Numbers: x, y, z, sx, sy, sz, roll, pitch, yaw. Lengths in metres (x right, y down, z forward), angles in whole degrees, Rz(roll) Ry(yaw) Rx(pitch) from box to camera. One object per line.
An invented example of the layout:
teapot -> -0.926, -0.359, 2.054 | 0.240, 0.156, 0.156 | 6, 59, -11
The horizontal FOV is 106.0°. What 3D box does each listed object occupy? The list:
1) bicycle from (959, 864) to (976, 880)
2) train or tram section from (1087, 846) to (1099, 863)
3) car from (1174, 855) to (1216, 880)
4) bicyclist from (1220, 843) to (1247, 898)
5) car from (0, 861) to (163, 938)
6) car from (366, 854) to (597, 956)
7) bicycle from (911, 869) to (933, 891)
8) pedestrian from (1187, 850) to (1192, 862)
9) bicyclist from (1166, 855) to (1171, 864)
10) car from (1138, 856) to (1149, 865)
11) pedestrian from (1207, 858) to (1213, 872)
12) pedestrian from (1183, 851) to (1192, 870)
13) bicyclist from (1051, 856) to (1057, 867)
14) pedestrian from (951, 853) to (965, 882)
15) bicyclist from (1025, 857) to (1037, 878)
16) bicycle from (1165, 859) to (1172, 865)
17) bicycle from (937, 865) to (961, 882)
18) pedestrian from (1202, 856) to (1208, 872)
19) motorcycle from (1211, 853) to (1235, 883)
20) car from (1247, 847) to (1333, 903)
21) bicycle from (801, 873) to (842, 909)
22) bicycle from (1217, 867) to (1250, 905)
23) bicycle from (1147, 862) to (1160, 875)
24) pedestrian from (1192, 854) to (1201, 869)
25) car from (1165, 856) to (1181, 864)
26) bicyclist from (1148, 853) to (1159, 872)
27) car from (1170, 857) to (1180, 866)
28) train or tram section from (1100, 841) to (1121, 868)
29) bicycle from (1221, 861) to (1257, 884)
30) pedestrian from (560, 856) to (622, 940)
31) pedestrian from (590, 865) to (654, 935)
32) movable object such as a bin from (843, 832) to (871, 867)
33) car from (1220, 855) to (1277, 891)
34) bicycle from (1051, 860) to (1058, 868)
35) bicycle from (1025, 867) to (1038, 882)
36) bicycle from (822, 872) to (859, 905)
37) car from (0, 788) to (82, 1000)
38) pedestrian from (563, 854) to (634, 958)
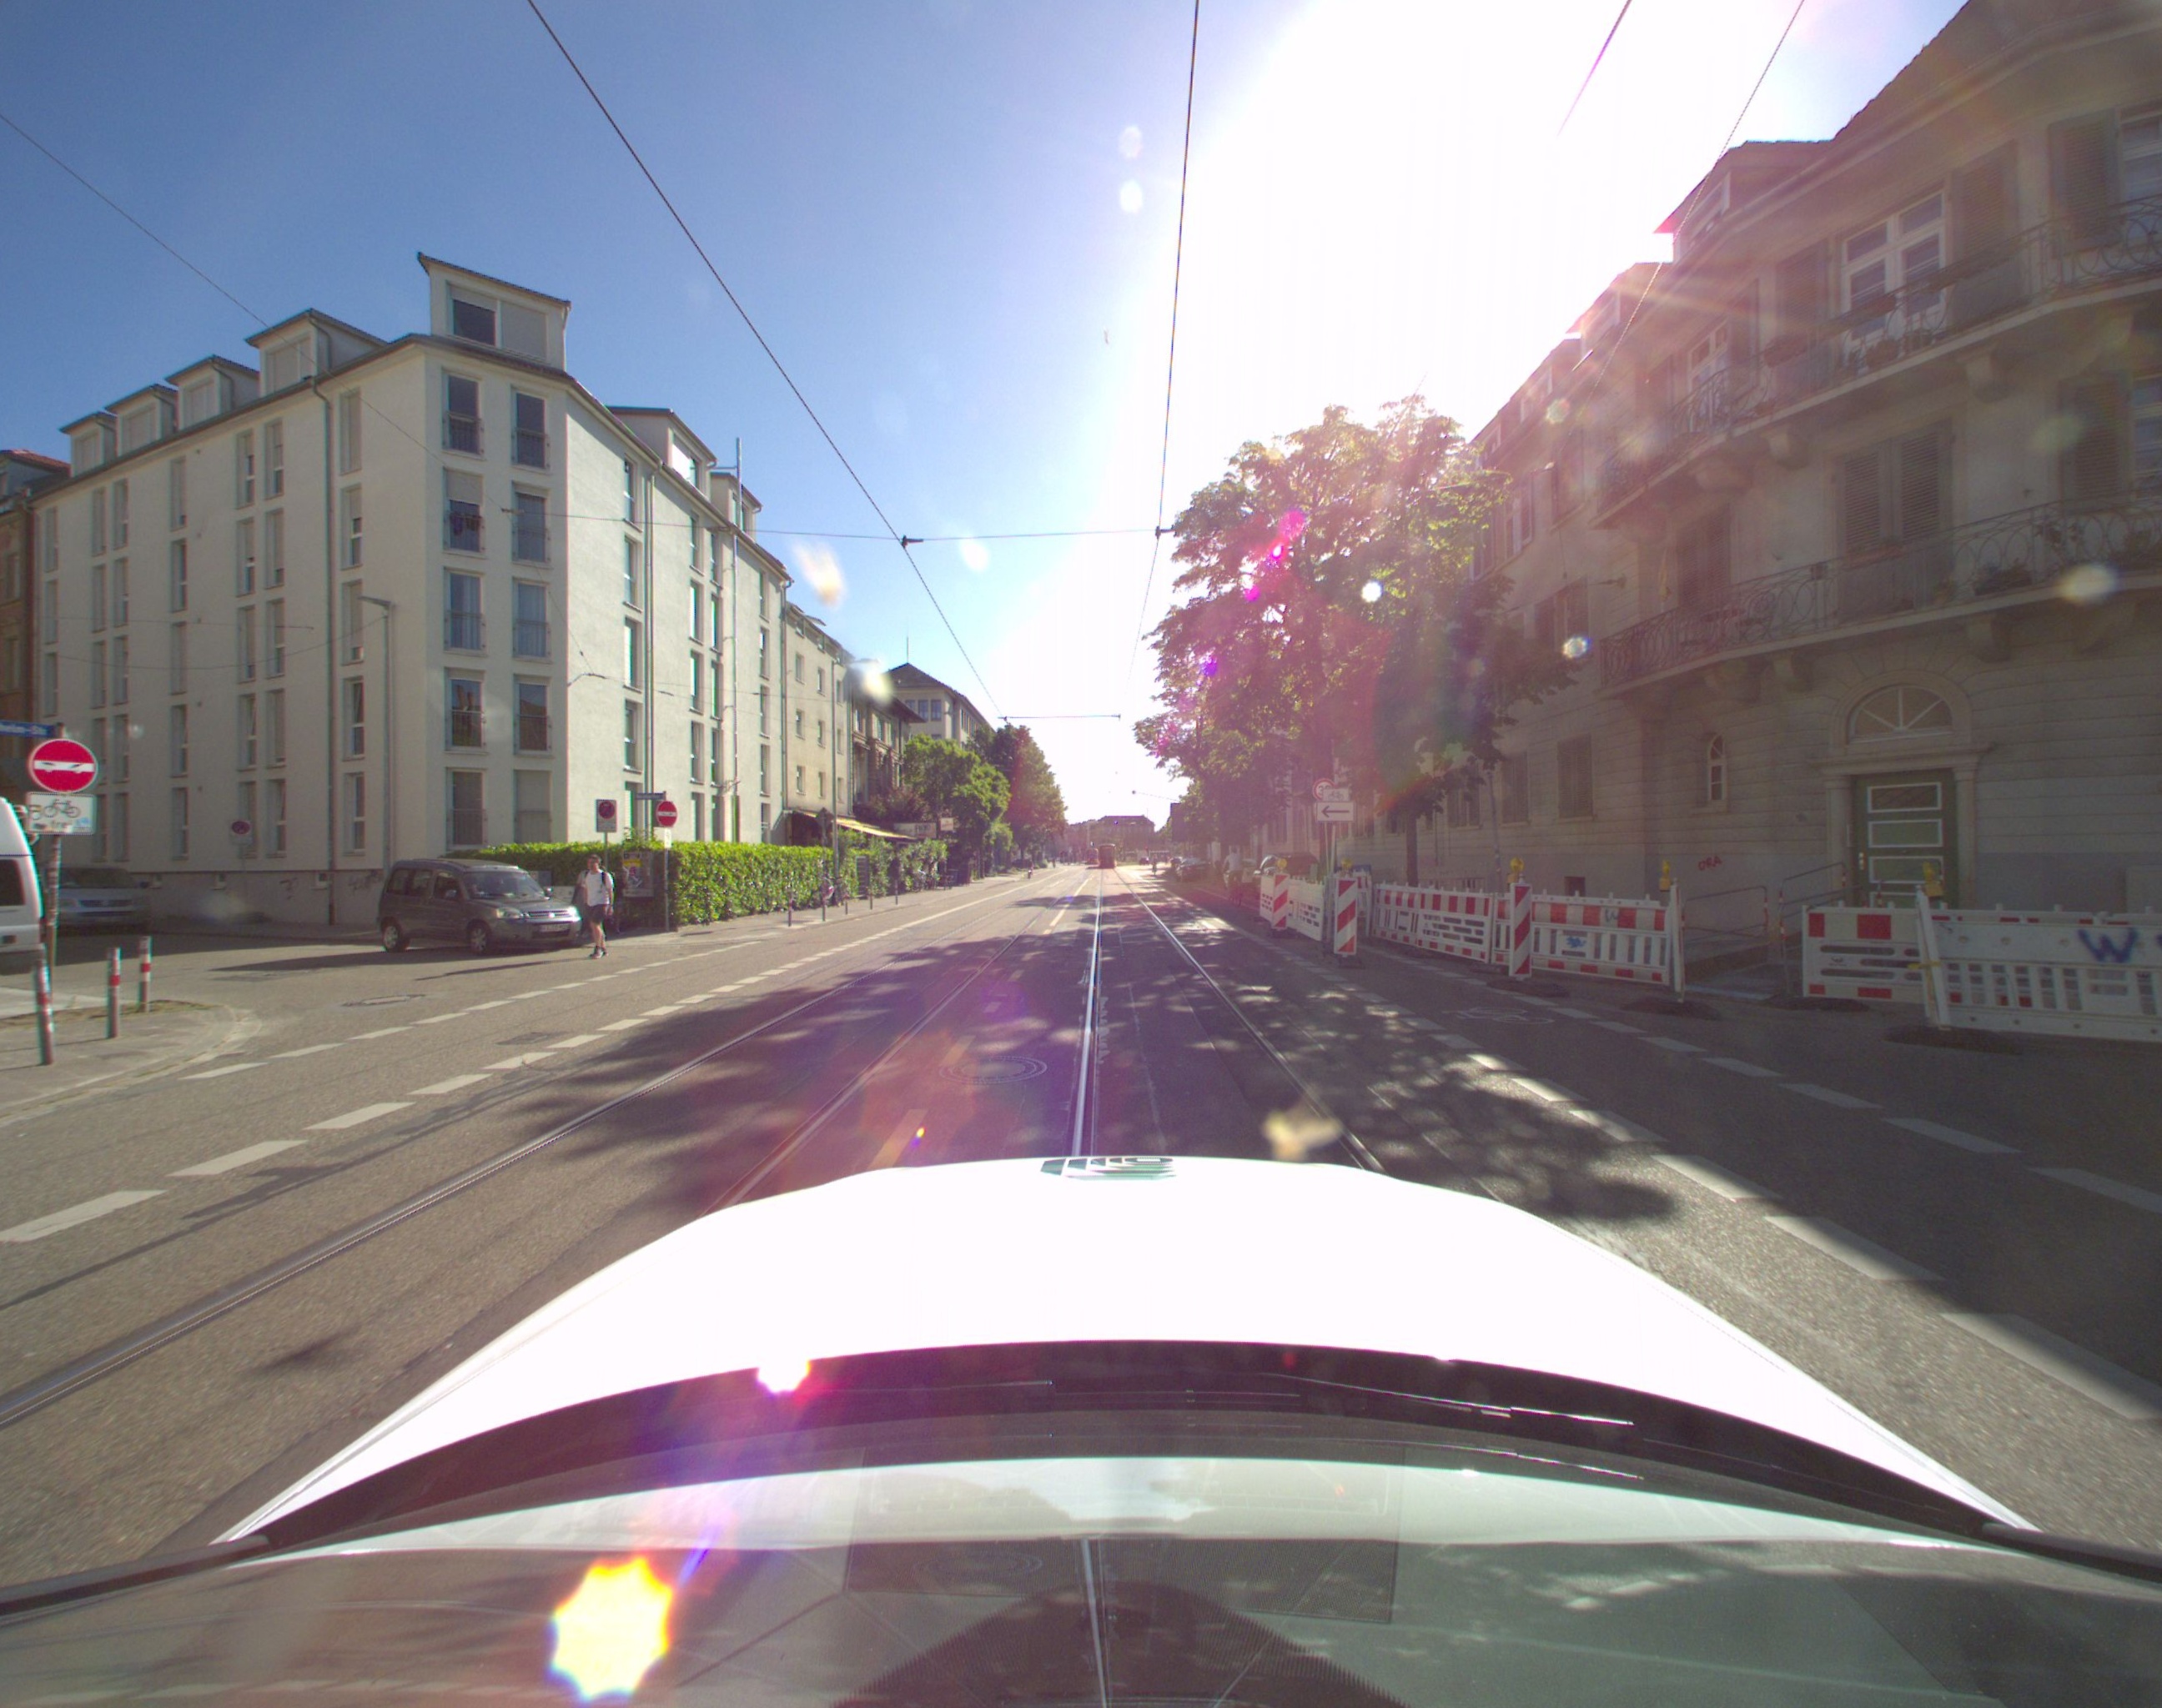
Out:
bicycle -> -7.810, 1.241, 56.033 | 0.586, 1.045, 1.910 | 0, 0, 10
train or tram section -> 2.699, 0.186, 183.086 | 2.732, 3.651, 13.787 | -1, 0, 1
car -> 7.156, 0.834, 51.496 | 1.817, 1.458, 4.815 | -3, 0, -2
bicyclist -> 4.791, 0.511, 25.646 | 0.735, 1.686, 0.972 | 1, 0, 3
car -> -27.844, 1.244, 22.657 | 3.952, 1.980, 1.825 | -2, -2, 22
car -> -11.717, 0.966, 15.933 | 4.005, 1.807, 1.801 | -2, -2, 22
bicycle -> -7.988, 1.298, 40.994 | 0.636, 1.059, 1.744 | 2, 0, 3
pedestrian -> 17.597, 0.353, 132.205 | 0.635, 1.904, 1.135 | -3, 0, 3
bicyclist -> 16.623, 0.968, 154.646 | 0.698, 1.700, 0.993 | 1, 1, 26
car -> 11.698, 1.198, 152.210 | 1.779, 1.604, 3.720 | 0, 0, 7
pedestrian -> 13.253, 1.116, 83.551 | 0.515, 1.404, 0.765 | -1, -1, 4
pedestrian -> 10.748, 0.659, 82.101 | 0.681, 1.849, 0.955 | -2, -1, 0
bicyclist -> -4.124, 1.151, 126.053 | 0.683, 1.644, 1.239 | -3, -1, 6
pedestrian -> -7.778, 0.844, 51.530 | 0.570, 1.831, 0.693 | -1, -1, 20
bicyclist -> -4.027, 1.078, 65.940 | 0.742, 1.599, 1.118 | -4, -1, 3
bicycle -> 16.618, 1.563, 154.670 | 0.698, 1.055, 2.327 | 1, 1, 26
bicycle -> -8.373, 1.239, 51.856 | 0.631, 1.045, 2.031 | -1, 0, 18
pedestrian -> 12.697, 1.034, 83.563 | 0.515, 1.600, 0.765 | -1, -1, 4
motorcycle -> 7.552, 0.732, 43.371 | 0.910, 1.488, 2.681 | -3, -1, 3
car -> 6.854, 0.638, 27.176 | 1.803, 1.626, 4.586 | -3, 0, 2
bicycle -> -8.519, 1.199, 26.842 | 0.659, 1.089, 1.841 | 2, -1, 2
bicycle -> 4.784, 0.986, 25.655 | 0.735, 1.094, 2.113 | 1, 0, 4
bicycle -> 6.537, 1.301, 73.547 | 0.699, 1.104, 1.726 | 1, 0, 21
pedestrian -> 12.695, 0.812, 89.528 | 0.853, 1.641, 0.994 | -1, -2, 4
car -> 19.781, 1.242, 174.498 | 1.685, 1.643, 3.736 | 0, 0, 37
bicyclist -> 6.543, 0.780, 73.546 | 0.699, 1.675, 1.107 | 1, 0, 21
car -> 17.631, 1.402, 153.099 | 1.781, 1.511, 3.717 | 0, 0, 4
train or tram section -> 4.223, 0.029, 118.846 | 2.732, 3.651, 13.787 | -1, 0, 1
bicycle -> 7.703, 0.910, 39.803 | 1.613, 1.043, 0.686 | -3, -1, 2
pedestrian -> -10.361, 0.907, 17.232 | 0.799, 1.714, 0.761 | 1, 0, 21
pedestrian -> -10.116, 0.996, 17.966 | 0.945, 1.478, 0.761 | 1, 0, 21
movable object such as a bin -> -9.724, -0.202, 35.394 | 0.804, 1.456, 1.258 | -2, 0, 0
car -> 7.125, 0.761, 34.981 | 1.716, 1.382, 4.359 | -3, 0, 3
bicycle -> -4.103, 1.546, 126.068 | 0.683, 1.124, 1.934 | -3, -1, 6
bicycle -> -3.994, 1.643, 65.854 | 0.742, 1.082, 1.900 | -4, -1, 3
bicycle -> -8.474, 1.214, 28.761 | 0.659, 1.089, 1.841 | 2, -1, 2
car -> -15.887, 0.520, 9.586 | 1.871, 2.841, 4.805 | -2, -2, 18
pedestrian -> -8.476, 0.891, 14.329 | 0.689, 1.768, 0.866 | -1, 0, 2
